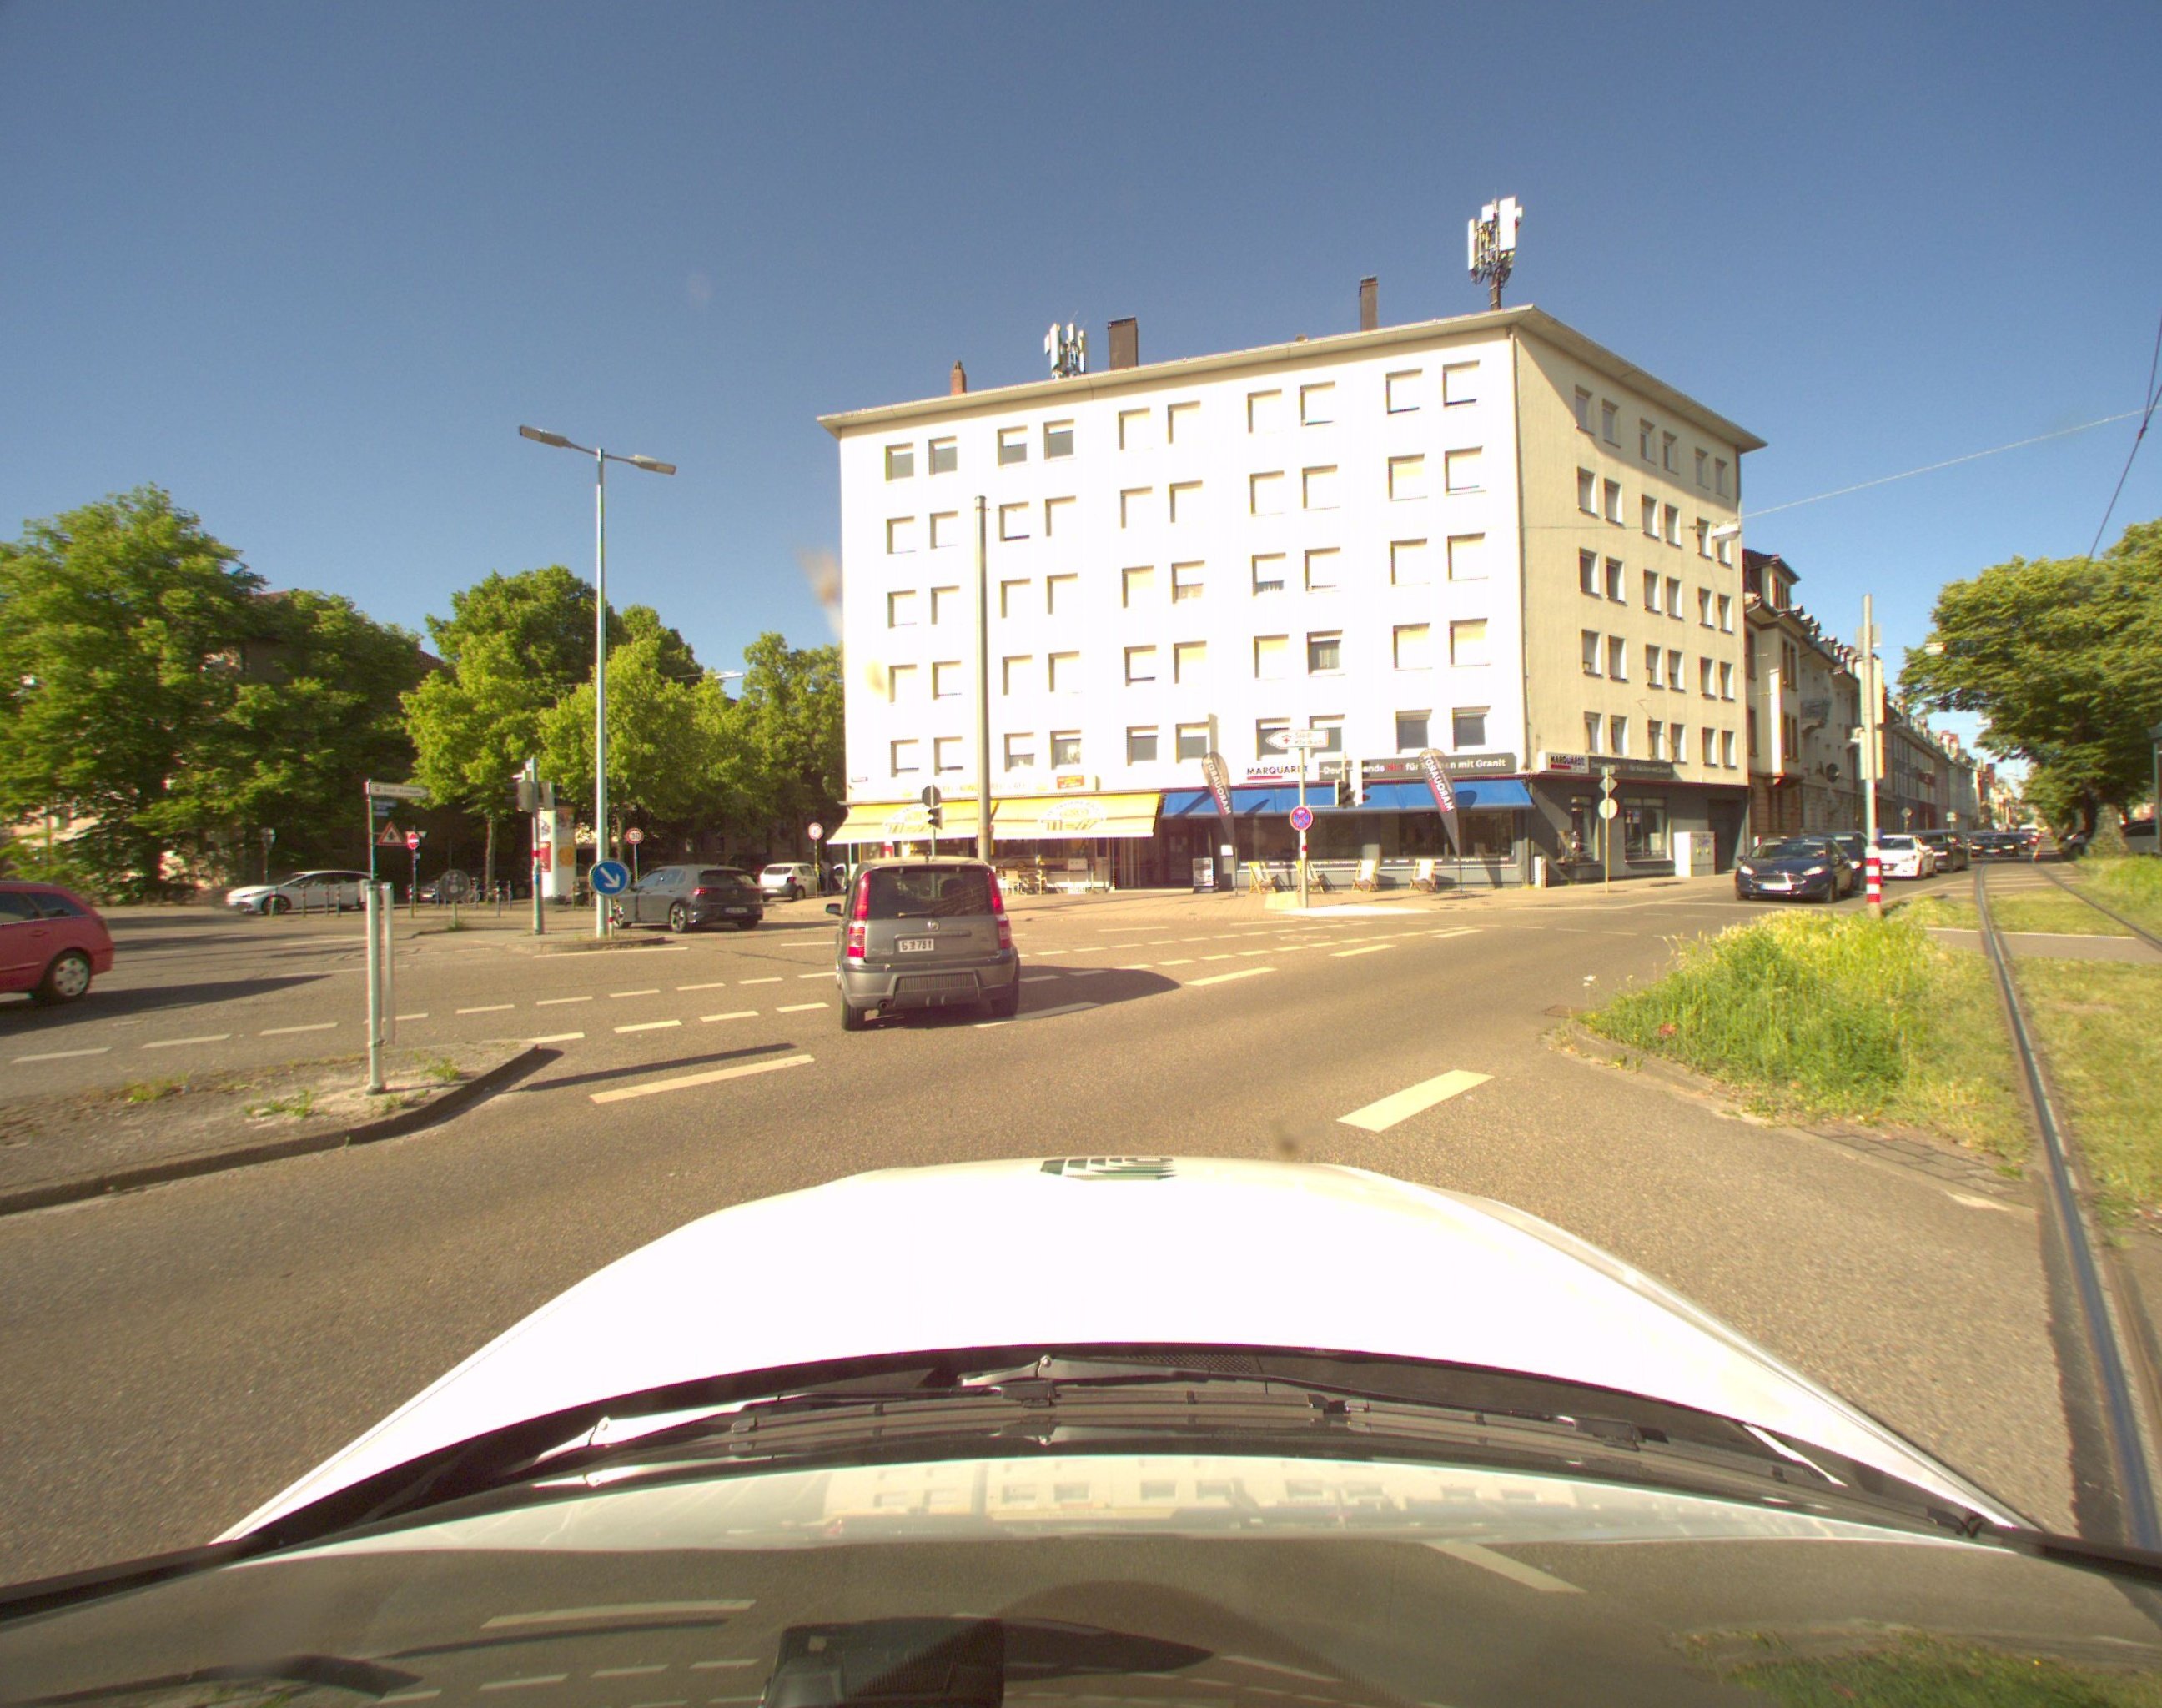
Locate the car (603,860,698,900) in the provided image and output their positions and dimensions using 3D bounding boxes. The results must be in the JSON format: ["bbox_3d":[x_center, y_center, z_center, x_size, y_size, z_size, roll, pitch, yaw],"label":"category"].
[{"bbox_3d":[-18.829,1.127,35.673,3.276,1.602,1.675,-2,0,9],"label":"car"}]

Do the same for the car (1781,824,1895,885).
[{"bbox_3d":[21.104,-0.016,22.663,3.785,1.565,1.775,-2,0,-39],"label":"car"}]

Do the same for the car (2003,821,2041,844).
[{"bbox_3d":[76.704,-1.768,66.363,4.021,1.750,1.976,-2,0,-40],"label":"car"}]

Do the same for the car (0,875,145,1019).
[{"bbox_3d":[-12.257,1.028,8.165,1.756,1.489,4.513,-2,0,-20],"label":"car"}]

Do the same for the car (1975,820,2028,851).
[{"bbox_3d":[54.985,-1.118,48.633,4.021,1.750,1.976,-2,0,-40],"label":"car"}]

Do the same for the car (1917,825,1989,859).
[{"bbox_3d":[41.604,-0.590,38.836,4.019,1.487,1.977,-2,0,-38],"label":"car"}]

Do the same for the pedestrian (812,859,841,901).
[{"bbox_3d":[-10.135,1.026,32.434,0.787,1.621,0.831,-2,0,7],"label":"pedestrian"}]

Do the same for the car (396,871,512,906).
[{"bbox_3d":[-27.172,1.466,35.438,1.582,1.293,3.719,-2,0,17],"label":"car"}]

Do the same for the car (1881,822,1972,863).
[{"bbox_3d":[32.331,-0.451,31.113,4.019,1.473,1.977,-2,0,-38],"label":"car"}]

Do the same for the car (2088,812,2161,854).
[{"bbox_3d":[41.837,-0.819,31.122,1.896,1.594,4.004,-2,0,4],"label":"car"}]

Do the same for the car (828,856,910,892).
[{"bbox_3d":[-10.074,0.924,39.004,1.921,1.512,3.958,-1,0,18],"label":"car"}]

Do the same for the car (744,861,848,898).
[{"bbox_3d":[-11.469,1.002,33.073,1.978,1.310,4.017,-2,0,16],"label":"car"}]

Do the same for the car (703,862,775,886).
[{"bbox_3d":[-18.969,1.097,45.182,3.455,1.190,1.651,-2,0,-32],"label":"car"}]

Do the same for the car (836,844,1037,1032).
[{"bbox_3d":[-1.650,0.693,8.497,1.664,1.510,3.233,-2,0,-16],"label":"car"}]

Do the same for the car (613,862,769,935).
[{"bbox_3d":[-8.708,0.937,18.085,3.640,1.429,1.637,-1,0,38],"label":"car"}]

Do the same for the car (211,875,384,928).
[{"bbox_3d":[-28.810,1.700,30.145,1.745,1.617,4.247,-1,1,19],"label":"car"}]

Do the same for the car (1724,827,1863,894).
[{"bbox_3d":[16.472,0.110,18.782,3.743,1.396,1.775,-2,0,-39],"label":"car"}]

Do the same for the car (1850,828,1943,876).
[{"bbox_3d":[26.928,-0.089,26.866,3.549,1.483,1.775,-2,0,-39],"label":"car"}]
